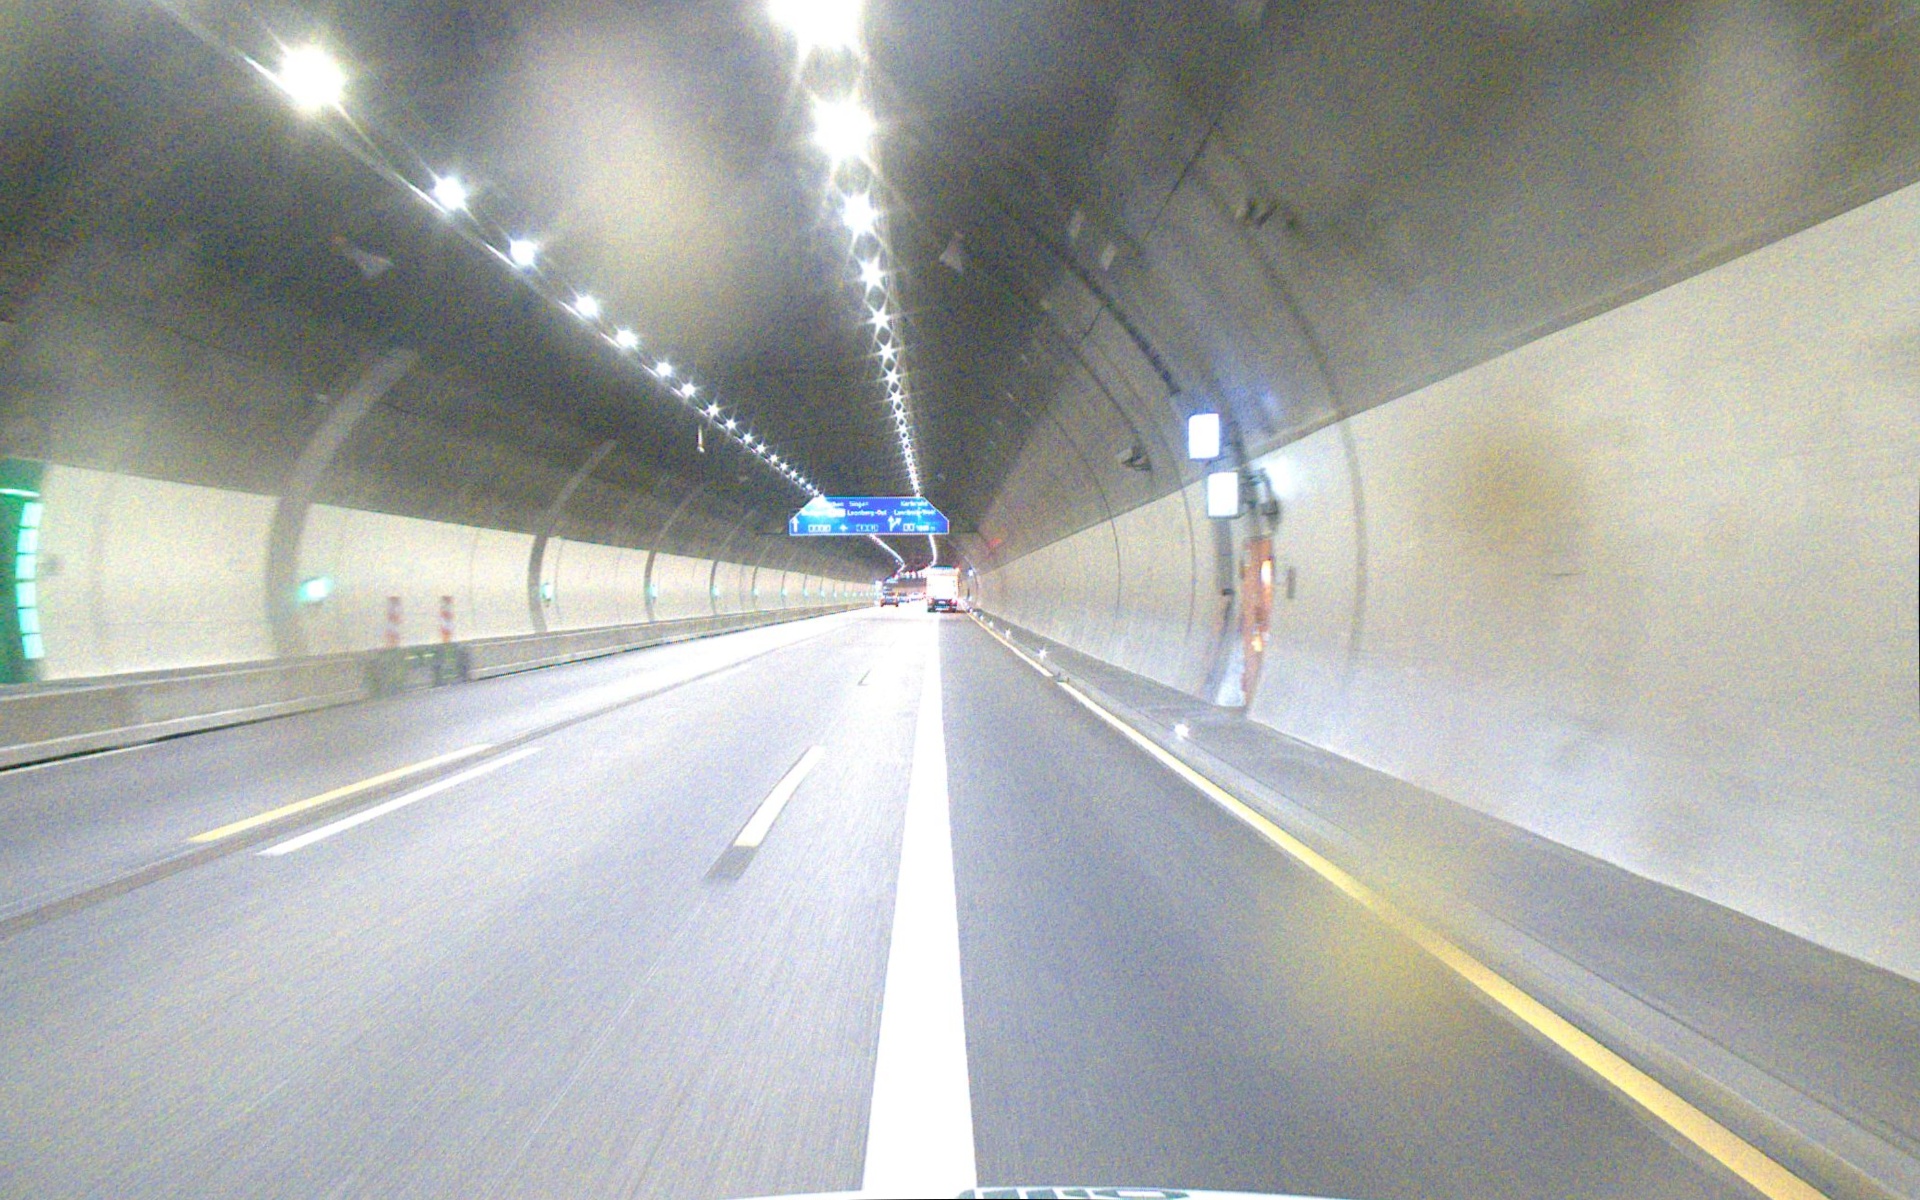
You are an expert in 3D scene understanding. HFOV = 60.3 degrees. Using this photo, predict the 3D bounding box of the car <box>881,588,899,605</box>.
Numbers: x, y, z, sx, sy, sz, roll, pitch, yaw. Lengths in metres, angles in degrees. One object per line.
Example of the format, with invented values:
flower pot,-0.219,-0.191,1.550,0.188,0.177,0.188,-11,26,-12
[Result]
car,-7.243,-0.393,171.536,1.776,1.646,3.998,0,1,-3

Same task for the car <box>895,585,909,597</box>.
car,-8.028,-1.211,228.826,1.777,1.546,3.997,0,2,-4

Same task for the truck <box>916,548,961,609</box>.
truck,-1.917,-1.766,139.043,3.213,4.731,17.278,-1,1,-3
